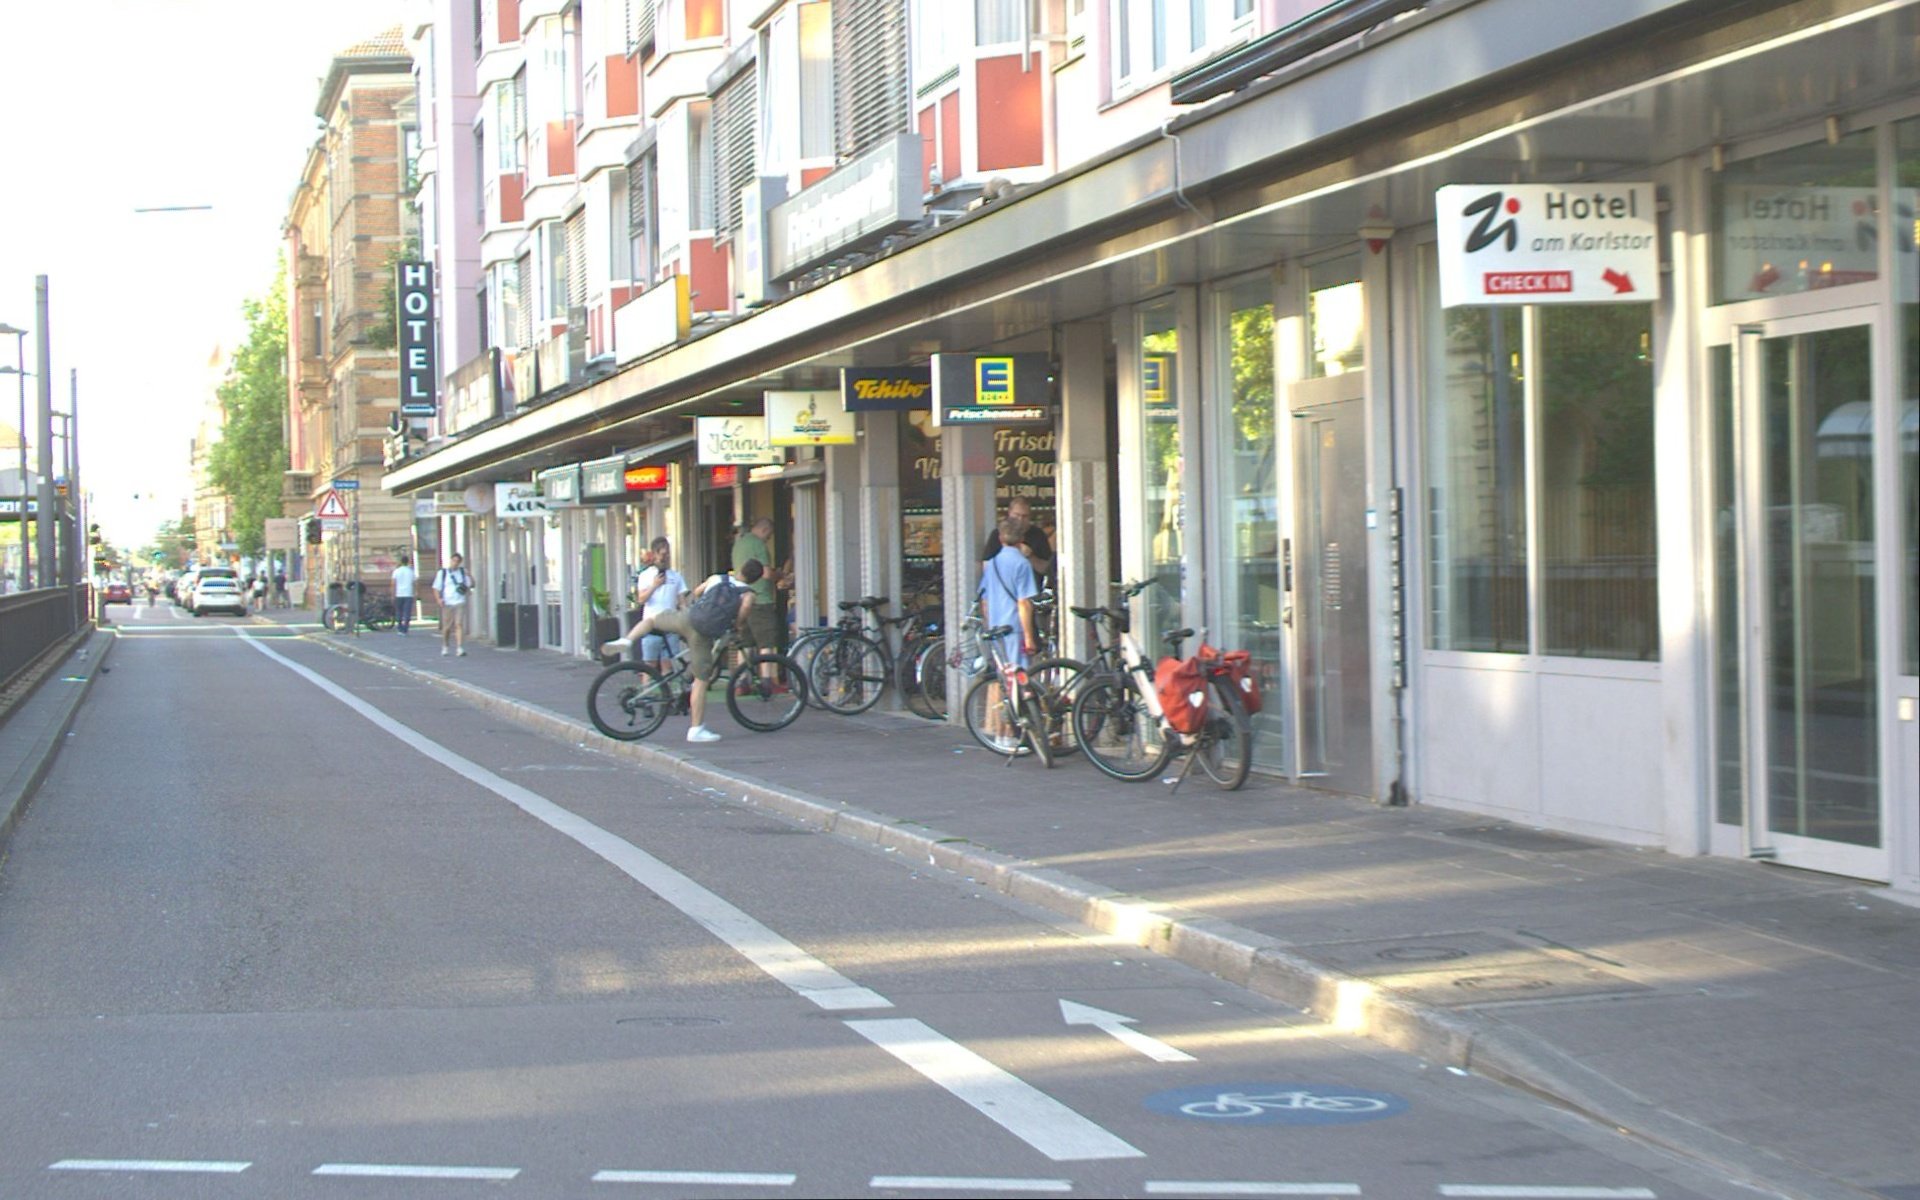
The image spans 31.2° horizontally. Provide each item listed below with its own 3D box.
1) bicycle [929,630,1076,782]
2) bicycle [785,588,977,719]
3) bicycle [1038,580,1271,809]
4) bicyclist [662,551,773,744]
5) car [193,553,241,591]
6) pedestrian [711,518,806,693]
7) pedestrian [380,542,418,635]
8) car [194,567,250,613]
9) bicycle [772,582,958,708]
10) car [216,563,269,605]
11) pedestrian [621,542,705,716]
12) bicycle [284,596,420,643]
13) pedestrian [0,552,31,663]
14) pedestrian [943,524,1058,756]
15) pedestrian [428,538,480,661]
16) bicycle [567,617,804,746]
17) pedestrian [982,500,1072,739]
[{"bbox_3d":[0.263,0.680,22.855,0.499,0.914,2.079,-1,1,-13],"label":"bicycle"},{"bbox_3d":[-0.707,0.469,30.788,1.643,1.115,0.484,-1,2,-18],"label":"bicycle"},{"bbox_3d":[1.091,0.508,19.931,0.727,1.222,2.333,-1,1,-13],"label":"bicycle"},{"bbox_3d":[-2.001,0.384,28.492,0.799,1.527,0.629,-4,2,-2],"label":"bicyclist"},{"bbox_3d":[-33.021,-1.270,152.837,1.993,1.546,4.002,-1,2,-12],"label":"car"},{"bbox_3d":[-2.064,0.048,35.289,0.818,1.772,0.680,0,2,12],"label":"pedestrian"},{"bbox_3d":[-12.252,-0.256,75.078,0.773,2.006,0.505,-1,2,-9],"label":"pedestrian"},{"bbox_3d":[-27.904,-0.391,130.079,1.993,1.546,4.002,-1,2,-12],"label":"car"},{"bbox_3d":[-0.888,0.413,32.206,1.643,1.115,0.566,-1,2,-18],"label":"bicycle"},{"bbox_3d":[-28.506,-0.649,136.600,1.993,1.546,4.002,-1,2,-12],"label":"car"},{"bbox_3d":[-2.841,0.269,32.898,0.750,1.639,0.550,-1,2,-8],"label":"pedestrian"},{"bbox_3d":[-14.505,0.464,82.074,3.164,0.989,0.901,-2,3,-41],"label":"bicycle"},{"bbox_3d":[-14.534,0.110,52.076,0.778,1.654,0.684,-1,2,-24],"label":"pedestrian"},{"bbox_3d":[0.294,0.275,24.678,0.610,1.629,0.603,1,2,28],"label":"pedestrian"},{"bbox_3d":[-8.408,-0.023,57.112,0.839,2.006,0.778,-1,2,-9],"label":"pedestrian"},{"bbox_3d":[-2.296,0.679,28.889,1.904,0.927,0.629,-4,2,-2],"label":"bicycle"},{"bbox_3d":[0.525,0.145,27.011,0.608,1.846,0.604,-1,2,-8],"label":"pedestrian"}]
